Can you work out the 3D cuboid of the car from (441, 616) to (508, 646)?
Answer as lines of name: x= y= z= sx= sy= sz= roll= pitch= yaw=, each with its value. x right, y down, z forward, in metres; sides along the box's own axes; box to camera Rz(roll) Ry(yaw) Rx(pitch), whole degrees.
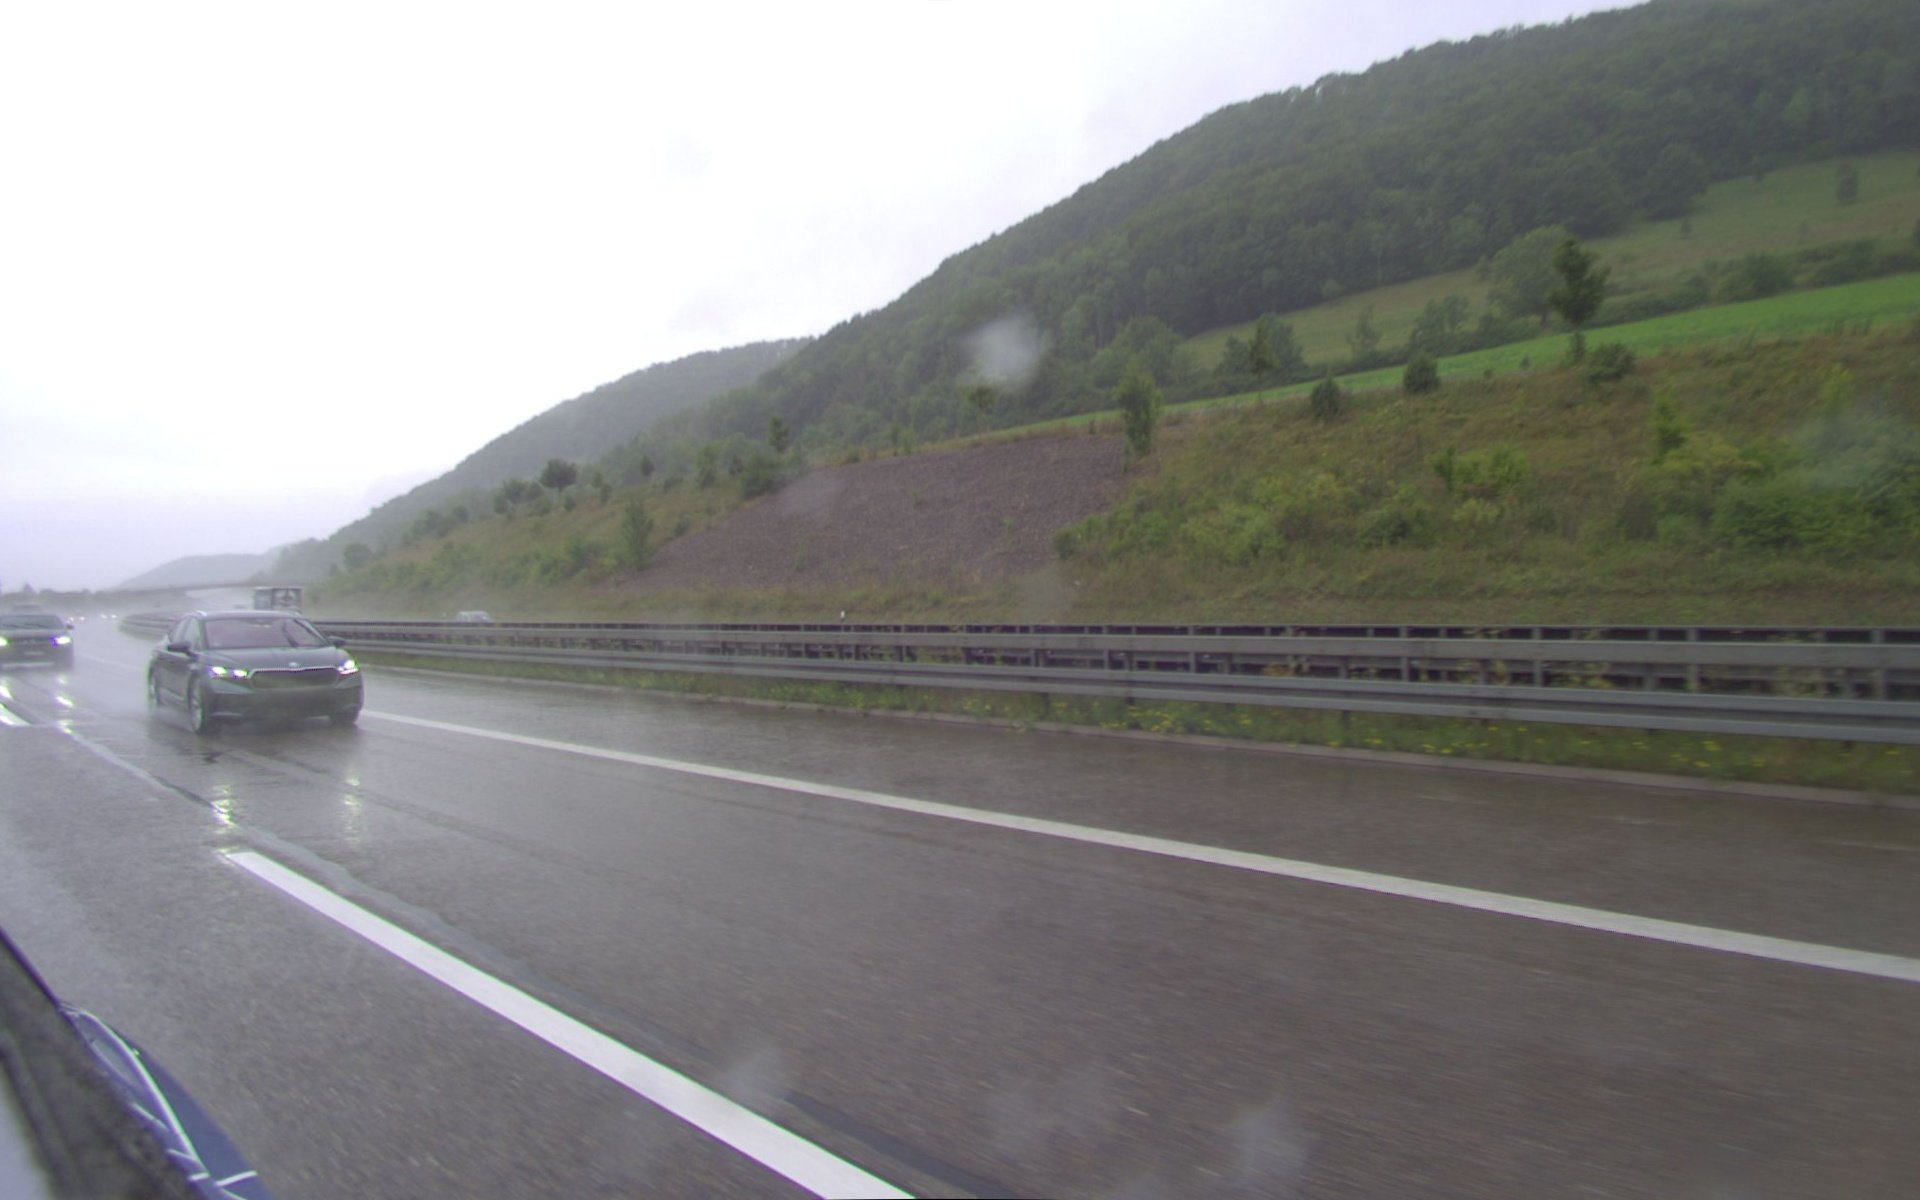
car: x=-24.144 y=1.523 z=50.310 sx=3.776 sy=1.431 sz=1.774 roll=-2 pitch=-1 yaw=44

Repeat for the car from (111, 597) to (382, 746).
car: x=-10.220 y=0.875 z=14.327 sx=4.906 sy=1.695 sz=1.973 roll=-1 pitch=2 yaw=41

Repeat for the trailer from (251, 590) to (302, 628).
trailer: x=-72.308 y=0.997 z=106.912 sx=2.779 sy=3.709 sz=13.264 roll=0 pitch=-1 yaw=-41

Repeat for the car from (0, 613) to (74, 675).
car: x=-28.480 y=1.310 z=31.128 sx=1.788 sy=1.715 sz=3.754 roll=-2 pitch=1 yaw=-42
